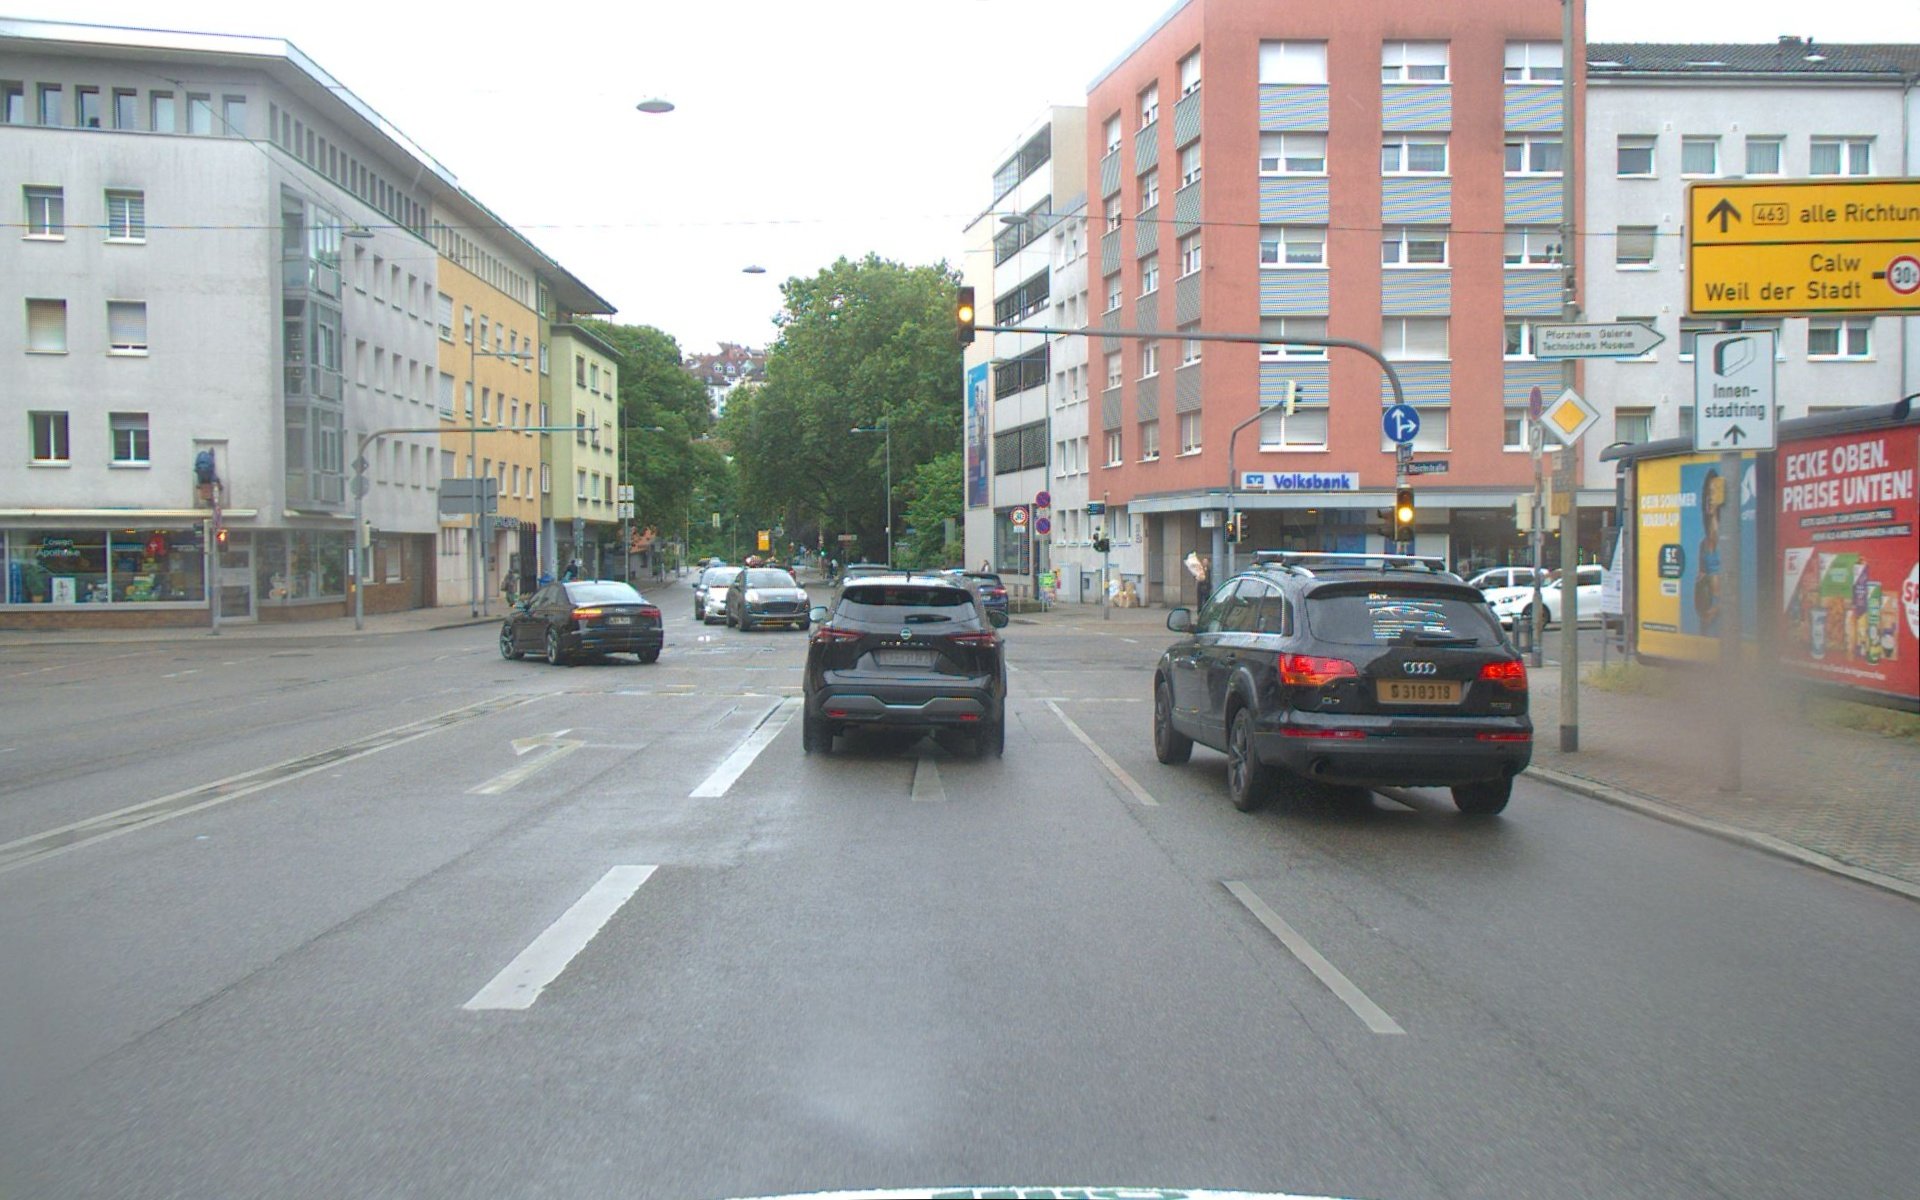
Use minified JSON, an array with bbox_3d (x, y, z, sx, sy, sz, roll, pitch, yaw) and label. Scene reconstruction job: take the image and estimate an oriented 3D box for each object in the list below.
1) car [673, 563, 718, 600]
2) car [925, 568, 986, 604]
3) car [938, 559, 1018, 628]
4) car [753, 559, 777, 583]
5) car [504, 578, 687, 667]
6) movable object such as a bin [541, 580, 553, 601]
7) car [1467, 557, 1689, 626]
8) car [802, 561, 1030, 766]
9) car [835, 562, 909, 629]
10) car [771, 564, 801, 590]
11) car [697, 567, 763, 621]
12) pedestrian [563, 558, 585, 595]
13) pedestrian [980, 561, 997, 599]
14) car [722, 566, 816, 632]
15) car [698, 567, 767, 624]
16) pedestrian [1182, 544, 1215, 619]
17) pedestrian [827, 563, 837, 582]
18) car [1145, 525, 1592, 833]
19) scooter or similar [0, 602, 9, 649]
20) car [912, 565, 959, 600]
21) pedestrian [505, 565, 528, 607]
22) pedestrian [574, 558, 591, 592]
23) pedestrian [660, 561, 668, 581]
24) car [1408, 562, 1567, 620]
[{"bbox_3d":[-14.498,-1.031,90.789,1.954,1.892,3.998,1,1,-3],"label":"car"},{"bbox_3d":[-0.242,-0.630,70.813,1.743,1.425,4.568,-2,2,-11],"label":"car"},{"bbox_3d":[0.485,-0.205,48.268,1.908,1.848,3.996,-3,1,-5],"label":"car"},{"bbox_3d":[-15.568,-2.301,131.997,1.786,1.827,3.861,1,1,-6],"label":"car"},{"bbox_3d":[-6.582,0.359,29.500,1.972,1.412,4.455,-2,1,-30],"label":"car"},{"bbox_3d":[-19.427,-0.446,77.792,0.445,0.945,0.502,0,1,-2],"label":"movable object such as a bin"},{"bbox_3d":[14.636,-0.214,39.299,4.559,1.512,1.918,-1,1,-5],"label":"car"},{"bbox_3d":[-0.522,0.488,15.774,1.857,1.657,3.997,2,1,-5],"label":"car"},{"bbox_3d":[-2.511,-0.143,46.398,1.908,1.714,3.996,-3,1,-5],"label":"car"},{"bbox_3d":[-11.426,-1.508,108.264,1.787,1.640,3.859,1,2,-8],"label":"car"},{"bbox_3d":[-7.394,-0.209,53.484,1.785,1.636,4.427,-1,0,-4],"label":"car"},{"bbox_3d":[-19.248,-1.166,82.551,0.848,1.819,0.874,2,1,-3],"label":"pedestrian"},{"bbox_3d":[1.357,-0.964,79.545,0.602,1.767,0.678,-3,1,-16],"label":"pedestrian"},{"bbox_3d":[-4.972,-0.051,42.664,1.825,1.580,4.210,-1,1,-15],"label":"car"},{"bbox_3d":[-6.650,-0.131,48.280,1.898,1.553,4.127,-1,0,-8],"label":"car"},{"bbox_3d":[7.091,-0.543,49.209,0.809,2.195,0.769,1,1,-3],"label":"pedestrian"},{"bbox_3d":[-12.051,-2.577,155.617,0.708,1.822,0.665,2,2,40],"label":"pedestrian"},{"bbox_3d":[2.884,0.483,12.970,1.981,1.902,4.896,2,0,-4],"label":"car"},{"bbox_3d":[-24.700,0.659,42.477,0.360,1.113,1.126,-2,4,-25],"label":"scooter or similar"},{"bbox_3d":[-1.160,-0.841,77.235,1.682,1.467,4.075,-3,2,-8],"label":"car"},{"bbox_3d":[-17.543,-0.557,65.412,0.673,1.608,0.652,2,1,-2],"label":"pedestrian"},{"bbox_3d":[-19.358,-1.288,84.856,0.783,1.717,0.815,-1,1,-9],"label":"pedestrian"},{"bbox_3d":[-26.875,-2.650,150.308,0.655,1.822,0.719,1,1,-16],"label":"pedestrian"},{"bbox_3d":[14.689,-0.270,46.148,3.867,1.512,1.702,-1,1,-3],"label":"car"}]
